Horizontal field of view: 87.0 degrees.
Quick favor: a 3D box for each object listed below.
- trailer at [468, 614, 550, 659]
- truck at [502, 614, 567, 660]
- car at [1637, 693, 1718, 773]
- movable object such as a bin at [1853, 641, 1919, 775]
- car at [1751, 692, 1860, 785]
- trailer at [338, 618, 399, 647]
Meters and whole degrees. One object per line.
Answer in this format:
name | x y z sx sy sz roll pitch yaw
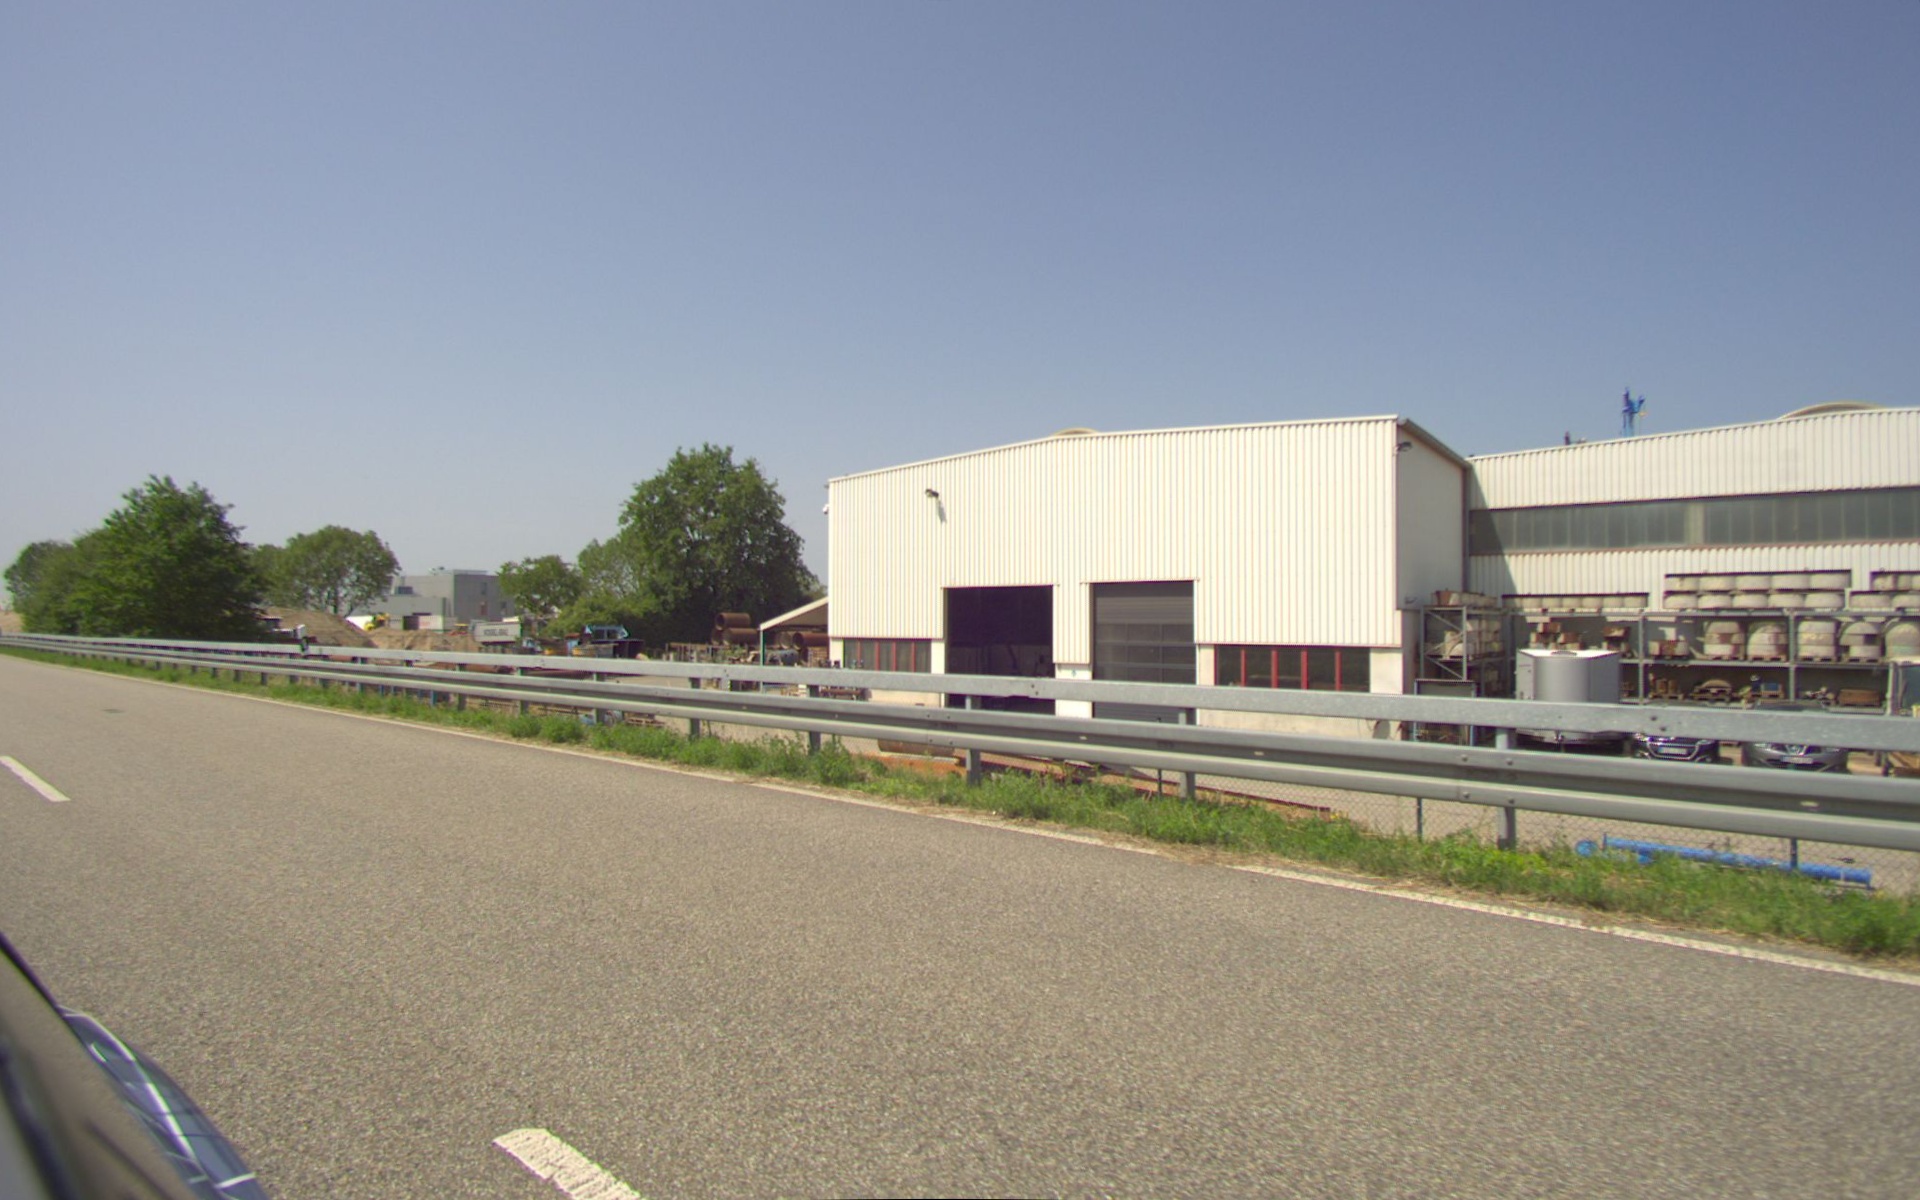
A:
trailer | -35.142 2.797 78.735 8.805 3.248 2.413 -1 0 42
truck | -31.826 2.723 75.641 2.411 3.248 5.887 -2 0 -45
car | 16.979 3.104 23.938 1.464 1.687 3.224 -1 -6 36
movable object such as a bin | 21.333 2.380 22.011 2.127 2.701 4.506 0 -5 33
car | 18.411 2.967 22.160 1.673 1.787 3.101 -1 -6 38
trailer | -93.823 5.168 160.249 15.558 4.293 2.672 -2 -2 37
